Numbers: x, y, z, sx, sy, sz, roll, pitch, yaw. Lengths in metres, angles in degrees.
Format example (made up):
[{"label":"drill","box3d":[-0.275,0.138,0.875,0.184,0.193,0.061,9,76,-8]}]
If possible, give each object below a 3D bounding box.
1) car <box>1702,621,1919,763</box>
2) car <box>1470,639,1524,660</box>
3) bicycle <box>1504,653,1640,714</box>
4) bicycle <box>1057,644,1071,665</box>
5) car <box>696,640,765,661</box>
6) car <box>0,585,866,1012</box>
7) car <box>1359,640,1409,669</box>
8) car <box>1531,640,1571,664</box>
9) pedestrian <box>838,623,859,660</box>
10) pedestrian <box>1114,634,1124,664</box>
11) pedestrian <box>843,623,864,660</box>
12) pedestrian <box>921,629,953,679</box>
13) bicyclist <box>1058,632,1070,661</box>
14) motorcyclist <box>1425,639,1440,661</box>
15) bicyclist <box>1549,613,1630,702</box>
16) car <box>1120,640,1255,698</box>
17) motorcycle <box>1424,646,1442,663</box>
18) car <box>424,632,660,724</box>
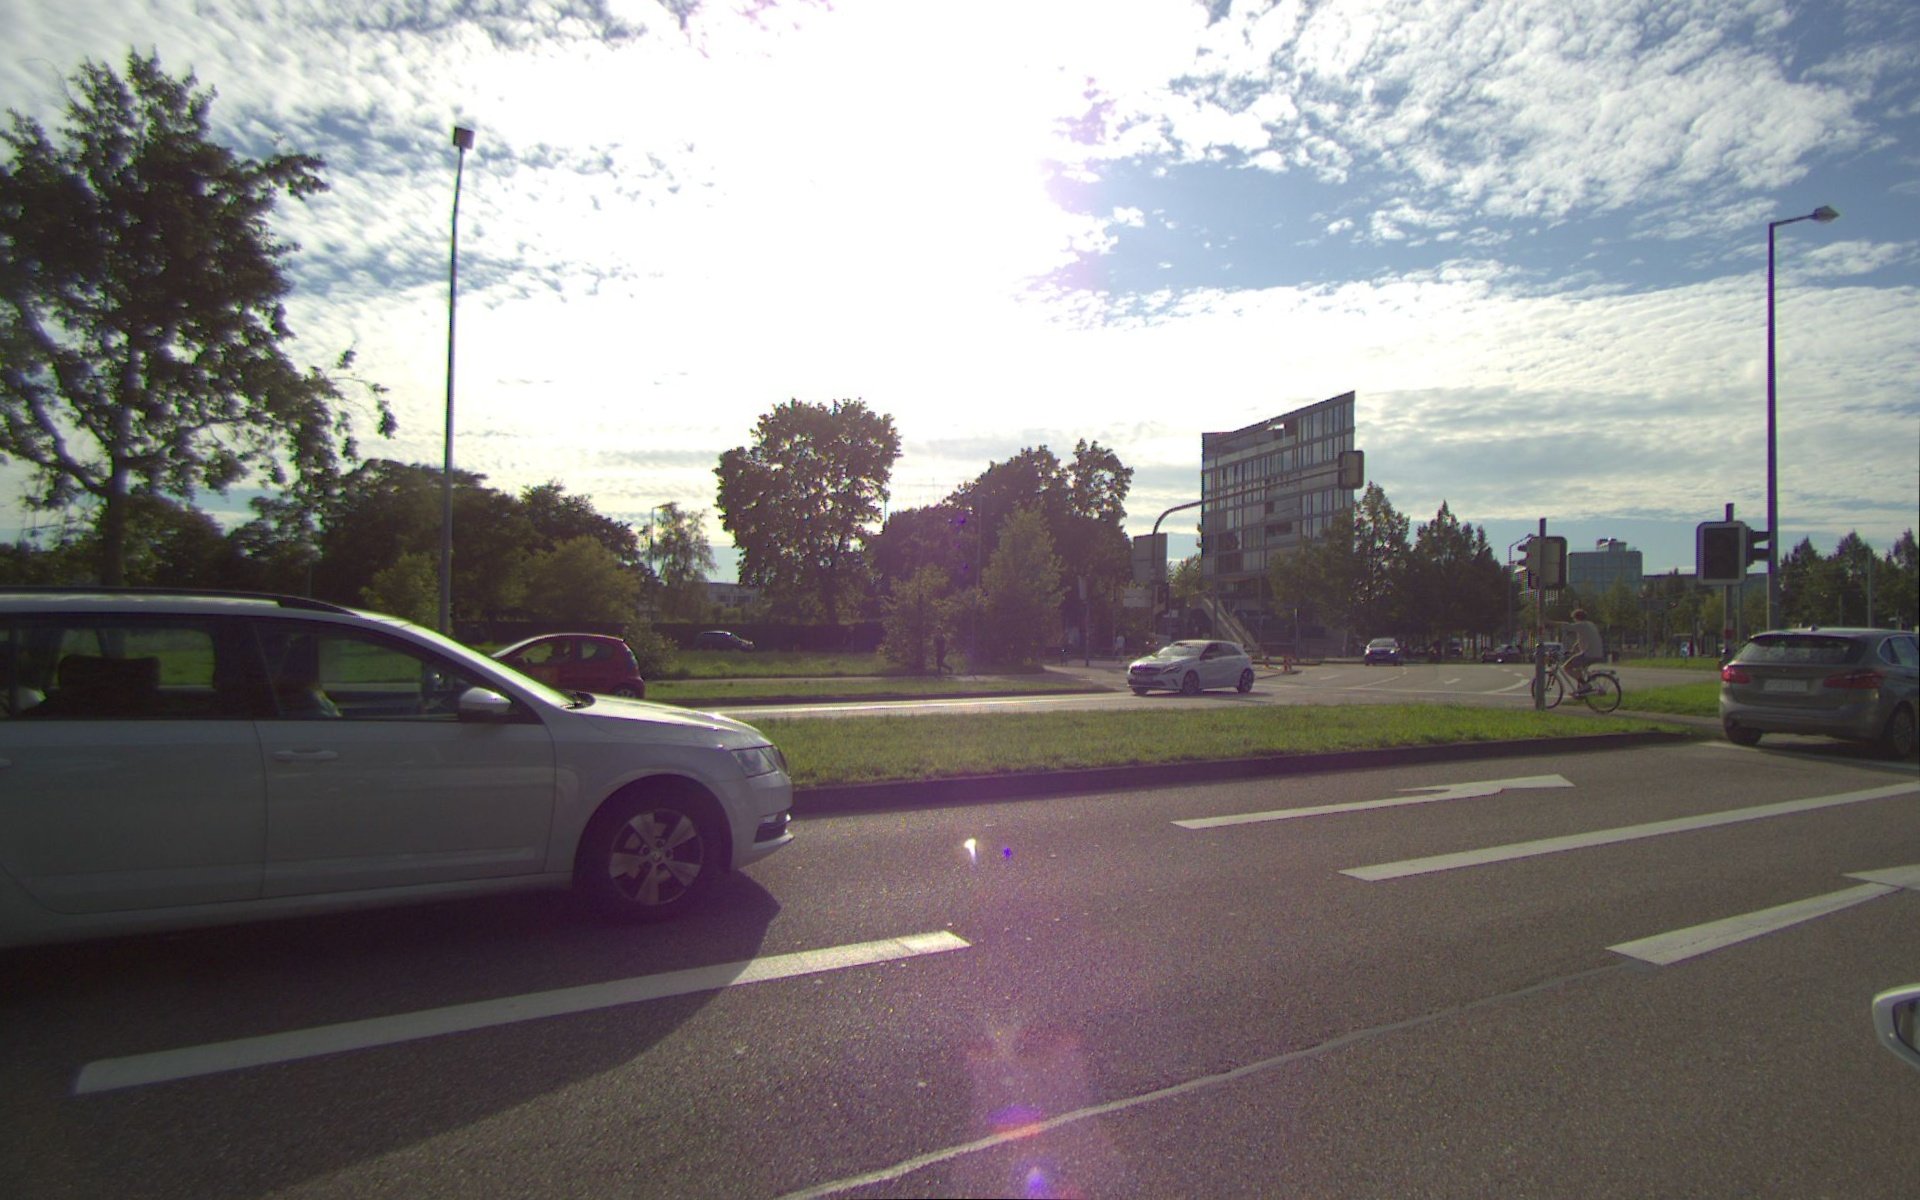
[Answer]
[{"label":"car","box3d":[11.833,1.135,13.196,4.015,1.593,1.761,2,-1,-27]},{"label":"car","box3d":[38.780,3.579,72.528,3.955,1.439,1.754,2,-2,-32]},{"label":"bicycle","box3d":[11.354,1.527,18.713,0.988,1.020,1.949,2,-2,-25]},{"label":"bicycle","box3d":[5.222,2.719,50.334,0.598,1.001,1.839,-1,-1,8]},{"label":"car","box3d":[-14.639,3.206,64.029,3.913,1.293,1.687,0,-2,14]},{"label":"car","box3d":[-2.919,0.716,4.732,4.584,1.464,1.842,2,-1,-30]},{"label":"car","box3d":[23.332,3.001,55.195,1.754,1.520,3.983,-3,-4,34]},{"label":"car","box3d":[46.963,4.149,79.813,1.663,1.848,4.533,-4,-5,44]},{"label":"pedestrian","box3d":[-5.960,2.222,53.702,0.878,1.942,0.867,2,0,8]},{"label":"pedestrian","box3d":[8.793,2.696,55.532,0.495,1.646,0.548,0,-2,10]},{"label":"pedestrian","box3d":[-5.761,2.231,54.538,0.878,1.942,0.867,2,0,8]},{"label":"pedestrian","box3d":[-0.718,1.696,31.873,0.748,1.528,0.623,2,1,-33]},{"label":"bicyclist","box3d":[5.218,2.332,50.371,0.598,1.464,0.699,0,-1,9]},{"label":"motorcyclist","box3d":[30.279,3.216,64.356,0.771,1.384,0.941,-1,-2,34]},{"label":"bicyclist","box3d":[11.513,1.042,18.381,0.984,1.576,0.860,2,-2,-25]},{"label":"car","box3d":[6.181,1.821,27.094,3.967,1.452,1.664,3,-3,-44]},{"label":"motorcycle","box3d":[30.353,3.509,64.470,0.771,0.999,2.018,0,0,33]},{"label":"car","box3d":[-7.296,1.310,17.620,3.553,1.452,1.670,2,-2,-34]}]
